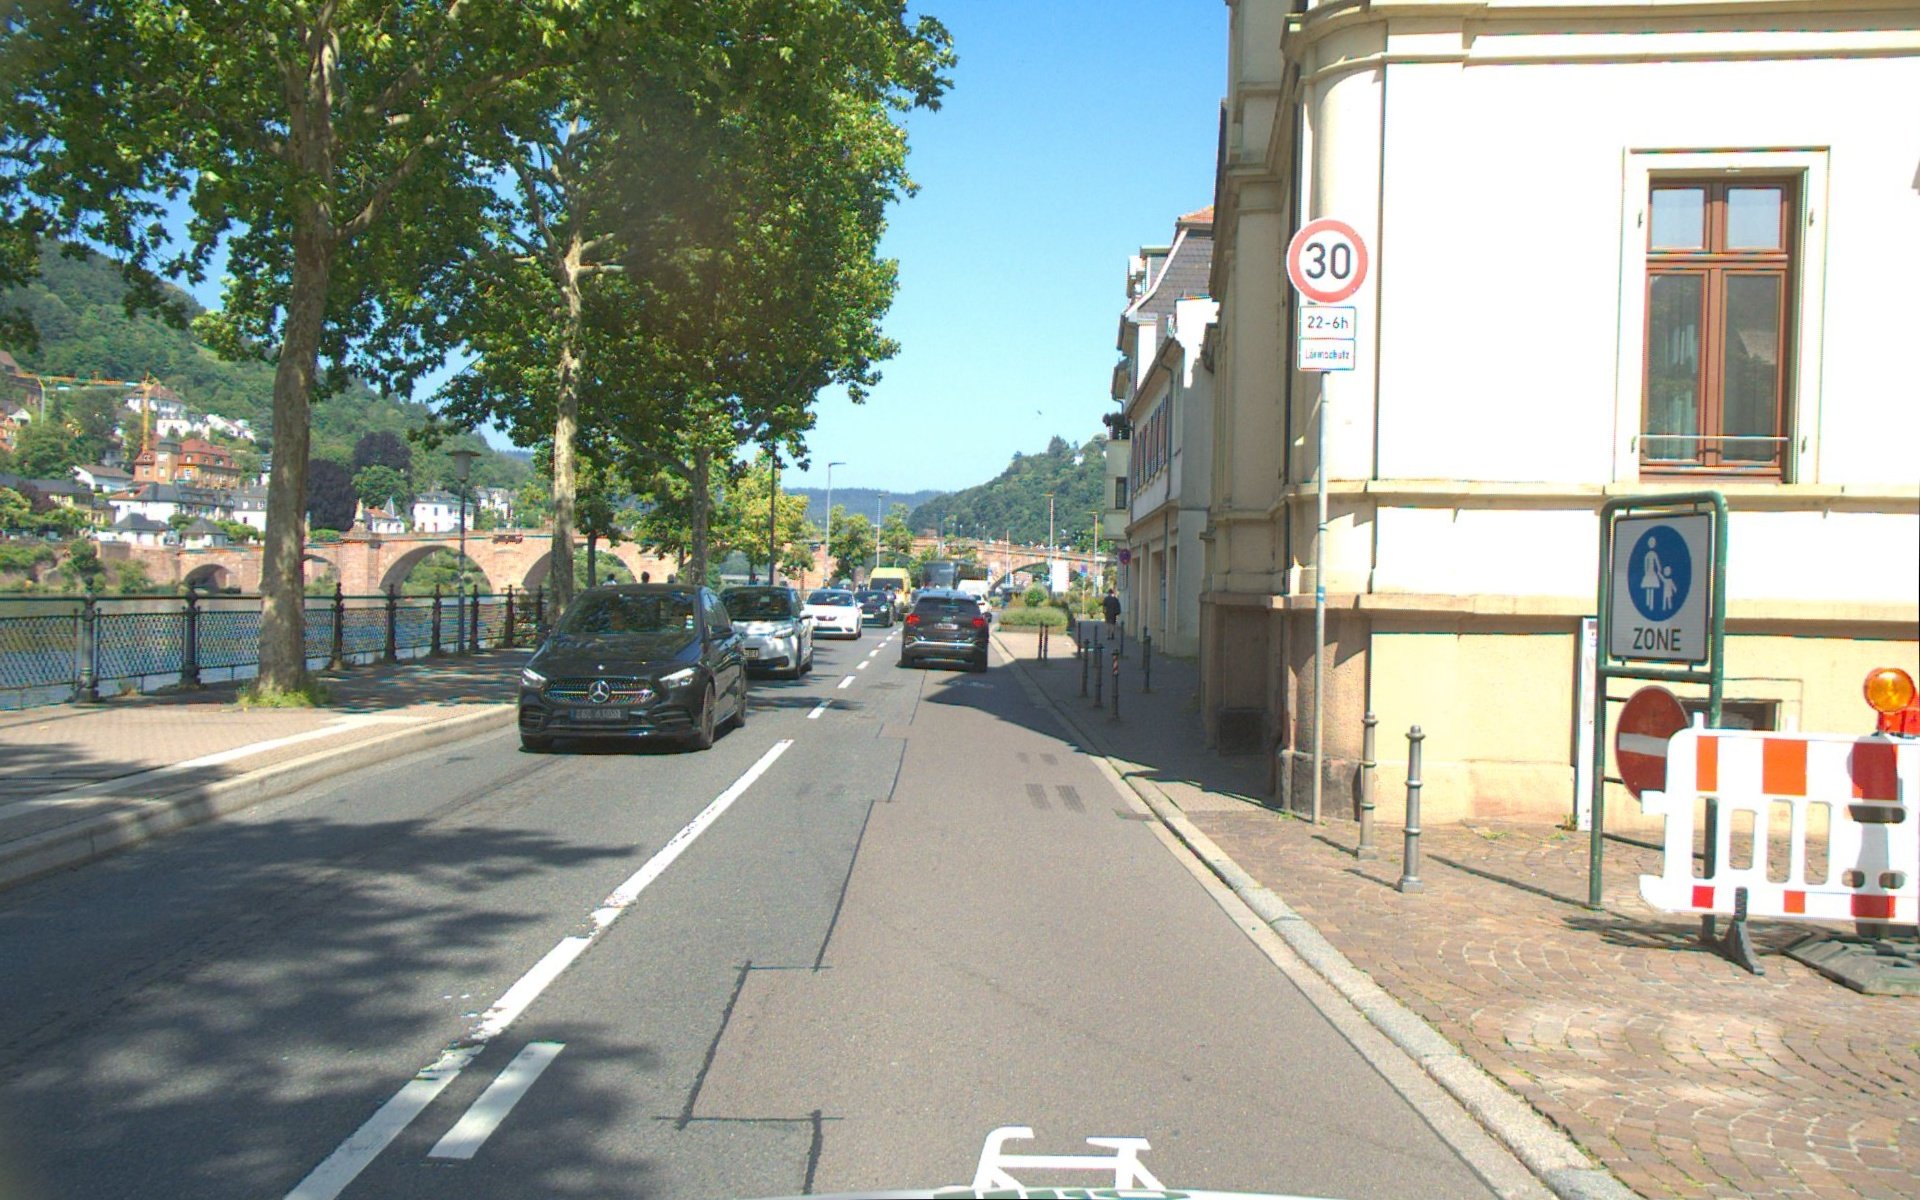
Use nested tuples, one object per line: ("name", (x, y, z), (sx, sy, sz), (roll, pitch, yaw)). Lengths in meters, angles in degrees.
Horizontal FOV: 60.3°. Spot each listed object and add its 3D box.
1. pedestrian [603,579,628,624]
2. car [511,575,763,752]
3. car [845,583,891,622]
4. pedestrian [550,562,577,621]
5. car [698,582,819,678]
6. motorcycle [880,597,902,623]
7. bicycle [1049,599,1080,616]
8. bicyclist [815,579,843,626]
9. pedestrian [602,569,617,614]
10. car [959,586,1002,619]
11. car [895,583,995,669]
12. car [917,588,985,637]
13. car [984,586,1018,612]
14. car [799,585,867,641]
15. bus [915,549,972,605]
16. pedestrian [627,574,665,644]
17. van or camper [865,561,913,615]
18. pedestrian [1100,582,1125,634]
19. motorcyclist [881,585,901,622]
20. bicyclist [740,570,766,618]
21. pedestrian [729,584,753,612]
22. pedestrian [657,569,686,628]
("pedestrian", (-12.778, 0.048, 61.389), (0.679, 1.644, 0.664), (1, 0, 6))
("car", (-3.141, 0.561, 16.926), (1.666, 1.544, 4.405), (-1, 0, 0))
("car", (-3.668, 0.085, 66.649), (1.666, 1.484, 4.001), (1, 0, -1))
("pedestrian", (-13.465, -0.280, 56.191), (0.679, 1.979, 0.886), (1, 0, -2))
("car", (-3.453, 0.482, 29.033), (1.700, 1.544, 4.403), (0, 0, -2))
("motorcycle", (-3.046, 0.433, 73.147), (0.866, 1.096, 2.326), (1, 0, -5))
("bicycle", (6.236, 0.424, 98.770), (1.772, 0.893, 0.502), (3, 1, 3))
("bicyclist", (-4.523, 0.066, 57.211), (0.750, 1.558, 1.026), (3, 2, 3))
("pedestrian", (-12.908, -0.305, 60.909), (0.406, 1.625, 0.451), (1, 0, 6))
("car", (1.053, 0.082, 81.578), (1.886, 1.580, 4.834), (0, 0, 4))
("car", (-0.304, 0.523, 34.547), (1.887, 1.580, 4.831), (3, 0, 0))
("car", (-0.245, 0.381, 54.137), (1.886, 1.486, 4.834), (1, 1, 3))
("car", (2.550, -0.081, 102.608), (1.886, 1.580, 4.834), (0, 0, 4))
("car", (-3.757, 0.349, 49.654), (1.666, 1.470, 4.092), (2, 2, 0))
("bus", (-1.029, -1.518, 116.911), (2.575, 3.626, 12.991), (1, 0, 6))
("pedestrian", (-7.429, 0.212, 39.166), (0.746, 1.614, 0.695), (1, 0, -2))
("van or camper", (-3.571, -0.611, 84.673), (2.045, 2.601, 7.092), (2, 0, 0))
("pedestrian", (5.171, 0.274, 56.136), (0.746, 1.743, 0.696), (-2, 0, 2))
("motorcyclist", (-3.040, 0.158, 72.933), (0.861, 1.611, 1.024), (1, 0, -2))
("bicyclist", (-7.078, -0.208, 56.649), (0.704, 1.611, 1.089), (1, 0, 1))
("pedestrian", (-10.365, -0.081, 78.350), (0.916, 1.303, 0.850), (1, 0, 8))
("pedestrian", (-8.607, -0.056, 49.400), (0.643, 1.711, 0.758), (4, 0, -2))
